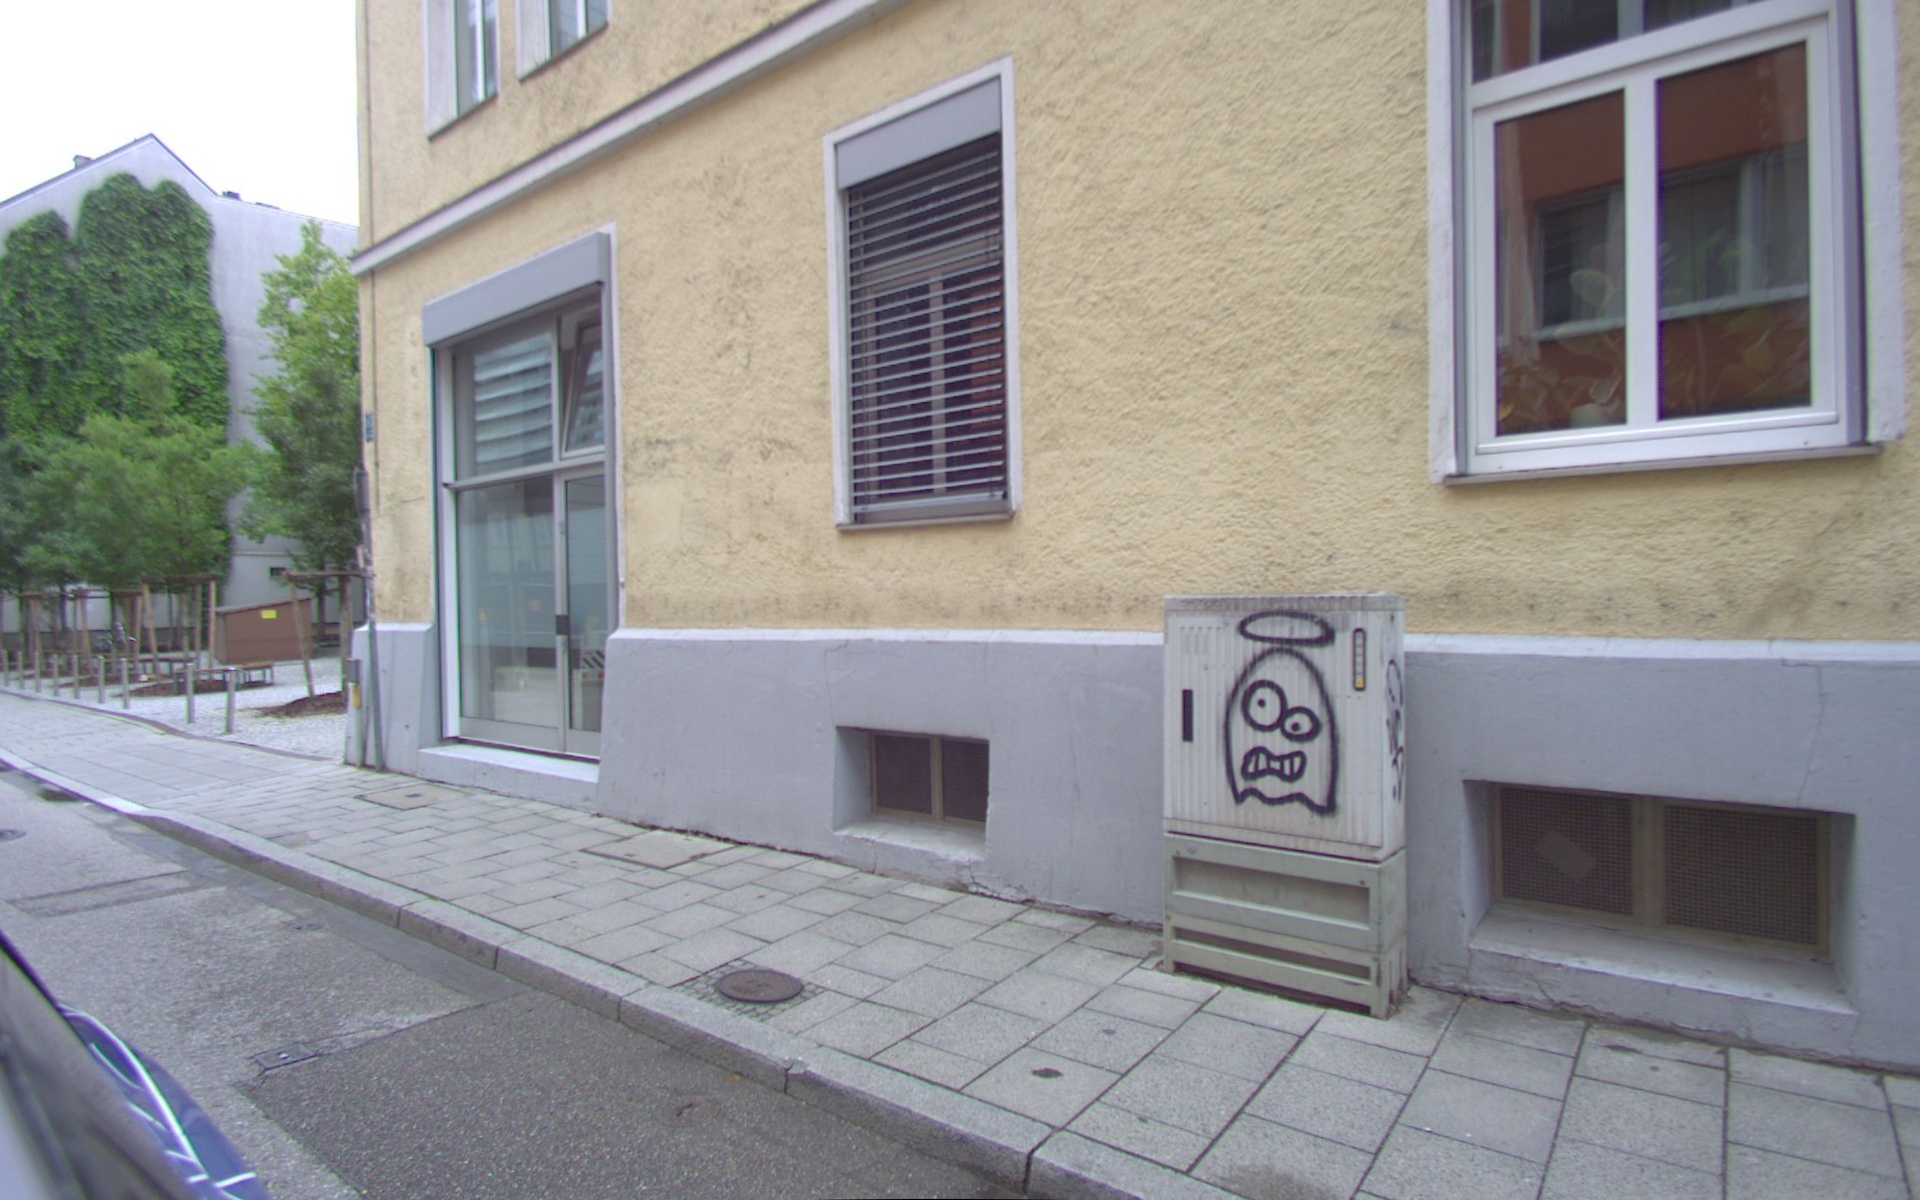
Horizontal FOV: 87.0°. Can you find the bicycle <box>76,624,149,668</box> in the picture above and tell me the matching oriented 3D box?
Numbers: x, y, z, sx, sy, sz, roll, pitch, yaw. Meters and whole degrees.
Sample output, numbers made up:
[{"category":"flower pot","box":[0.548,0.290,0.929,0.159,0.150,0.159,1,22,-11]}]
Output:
[{"category":"bicycle","box":[-24.520,1.326,29.291,1.984,1.217,0.709,-1,1,21]}]

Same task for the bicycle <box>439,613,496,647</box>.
[{"category":"bicycle","box":[-16.351,0.976,33.616,0.628,1.068,1.555,-2,0,41]}]

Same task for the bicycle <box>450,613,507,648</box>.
[{"category":"bicycle","box":[-15.719,0.996,33.081,0.628,1.068,1.555,-2,0,41]}]

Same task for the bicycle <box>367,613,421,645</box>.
[{"category":"bicycle","box":[-21.673,1.098,38.778,0.603,1.151,1.701,-1,0,44]}]

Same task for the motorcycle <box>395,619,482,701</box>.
[{"category":"motorcycle","box":[-8.171,0.903,15.810,1.981,1.181,0.570,-1,1,44]}]
